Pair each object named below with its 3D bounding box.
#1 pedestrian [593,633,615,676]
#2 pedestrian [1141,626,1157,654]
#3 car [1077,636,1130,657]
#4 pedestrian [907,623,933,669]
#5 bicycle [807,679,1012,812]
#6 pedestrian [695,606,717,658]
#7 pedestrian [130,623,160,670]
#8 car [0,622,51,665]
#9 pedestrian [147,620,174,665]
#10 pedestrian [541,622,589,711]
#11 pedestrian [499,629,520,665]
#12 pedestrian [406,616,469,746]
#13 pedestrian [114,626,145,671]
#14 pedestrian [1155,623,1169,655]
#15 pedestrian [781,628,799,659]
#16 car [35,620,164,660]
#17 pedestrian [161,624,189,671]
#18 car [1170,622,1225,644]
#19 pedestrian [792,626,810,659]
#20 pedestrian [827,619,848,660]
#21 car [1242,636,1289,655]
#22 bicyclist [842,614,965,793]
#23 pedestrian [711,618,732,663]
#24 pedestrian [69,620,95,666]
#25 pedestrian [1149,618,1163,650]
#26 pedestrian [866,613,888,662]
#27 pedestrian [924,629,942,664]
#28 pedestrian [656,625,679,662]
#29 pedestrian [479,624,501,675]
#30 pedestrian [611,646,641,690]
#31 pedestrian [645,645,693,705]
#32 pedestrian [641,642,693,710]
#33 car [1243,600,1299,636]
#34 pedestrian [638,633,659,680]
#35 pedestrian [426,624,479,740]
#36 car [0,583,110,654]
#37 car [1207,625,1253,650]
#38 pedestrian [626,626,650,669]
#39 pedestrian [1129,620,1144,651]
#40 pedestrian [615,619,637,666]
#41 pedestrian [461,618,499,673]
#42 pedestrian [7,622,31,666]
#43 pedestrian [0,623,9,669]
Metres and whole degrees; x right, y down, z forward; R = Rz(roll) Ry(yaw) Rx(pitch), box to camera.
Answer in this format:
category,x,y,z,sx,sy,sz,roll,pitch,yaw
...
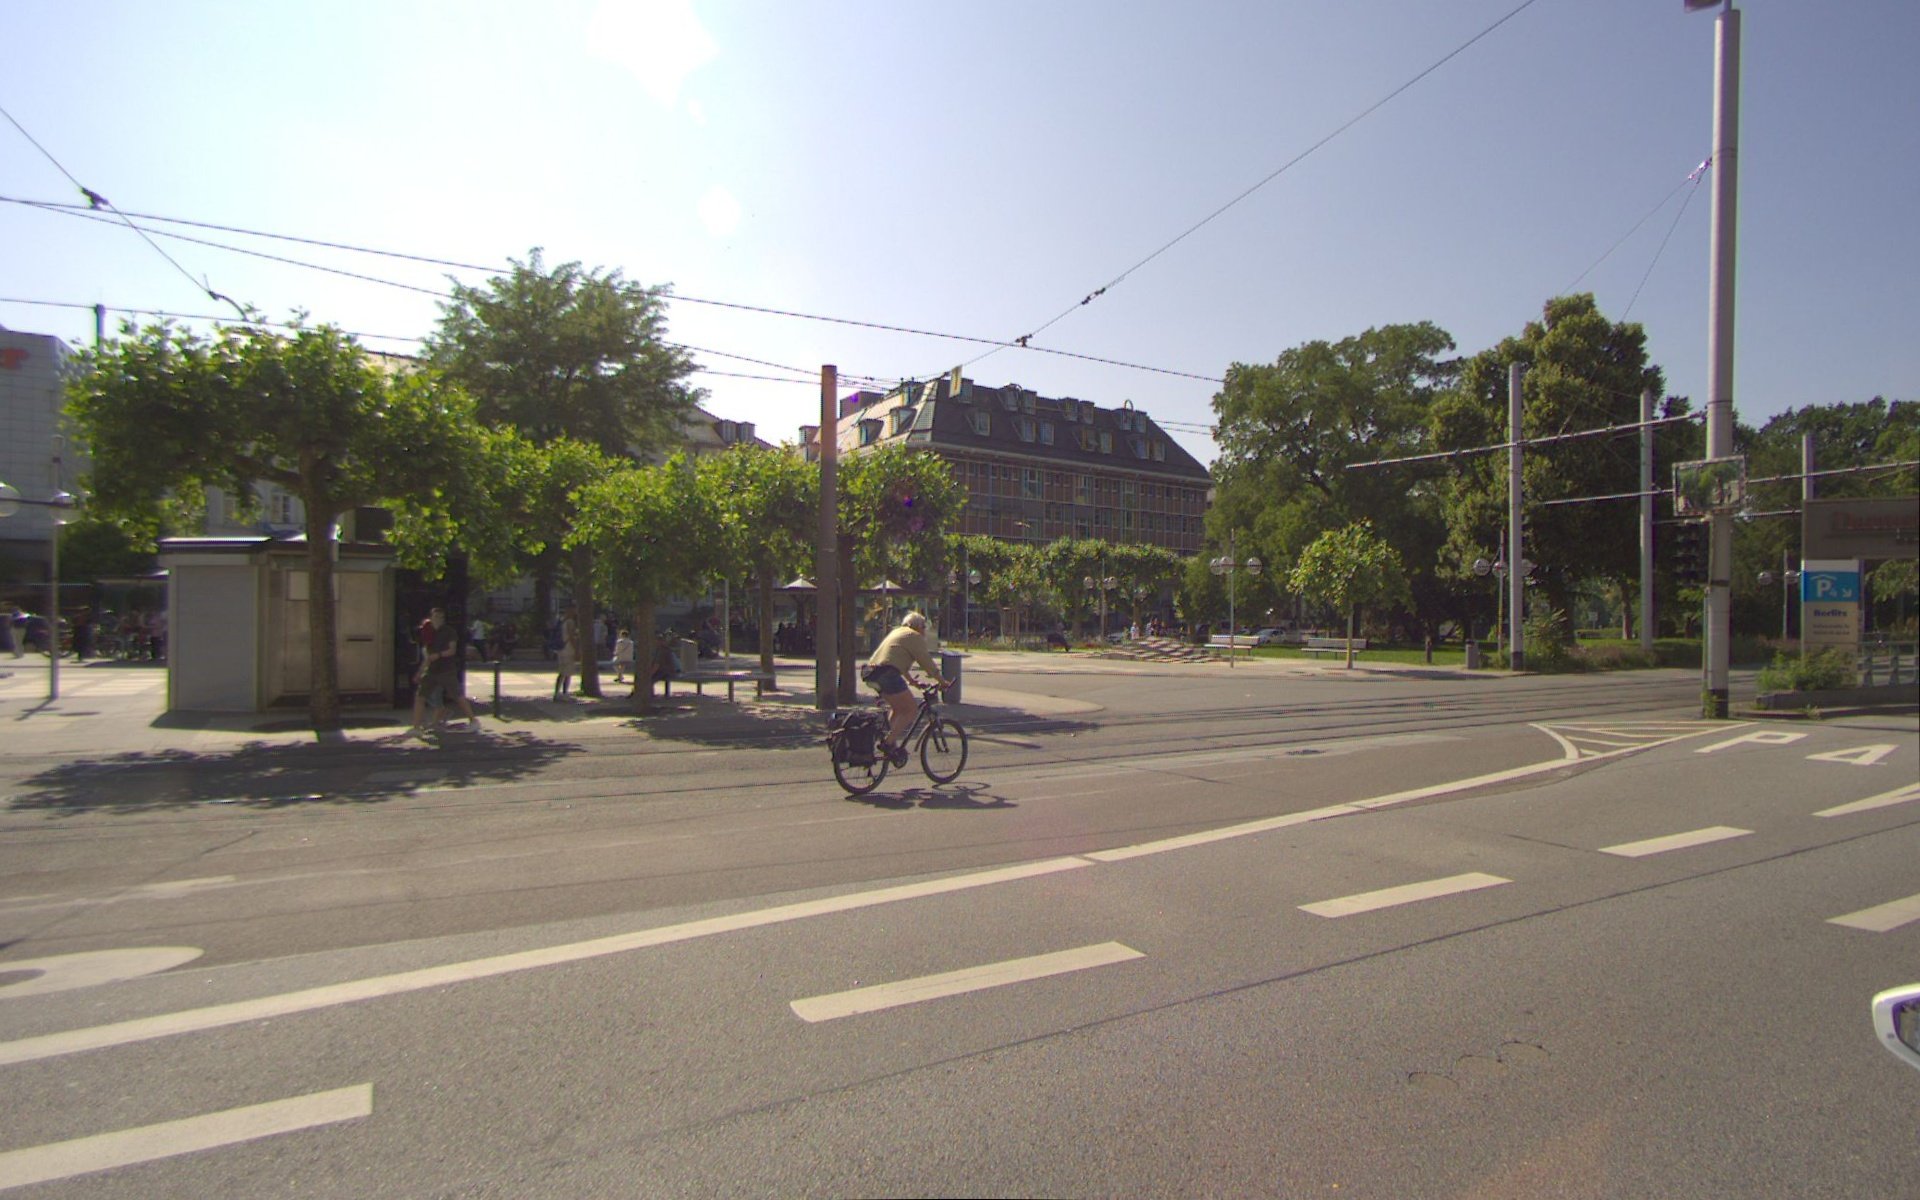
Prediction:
category,x,y,z,sx,sy,sz,roll,pitch,yaw
pedestrian,-10.910,1.669,30.775,0.398,1.279,0.479,-4,-3,41
pedestrian,10.135,2.139,53.802,0.656,1.512,0.521,0,-3,-38
car,11.209,3.602,78.355,3.962,1.528,1.743,1,1,-36
pedestrian,-1.518,1.732,38.093,0.697,1.728,0.673,0,-2,-31
bicycle,-0.487,1.370,9.858,1.852,1.135,0.814,1,-3,-30
pedestrian,-9.965,1.262,39.463,0.537,2.034,0.629,-3,-3,38
pedestrian,-26.153,1.506,32.248,0.673,1.484,0.619,0,-3,-33
car,-37.042,1.629,37.815,3.962,1.528,1.743,1,1,-36
pedestrian,-26.983,1.442,33.919,0.674,1.484,0.619,0,-3,-35
pedestrian,-7.403,1.244,18.824,0.566,1.630,0.602,-3,-3,31
pedestrian,-16.190,1.679,36.088,0.612,1.279,0.580,-1,-2,-16
pedestrian,-7.252,1.115,13.952,0.517,1.756,0.587,-3,-3,30
pedestrian,-28.047,1.627,33.930,0.735,1.484,0.782,0,-3,-35
pedestrian,10.429,2.017,51.850,0.491,1.630,0.410,0,-3,-40
pedestrian,-7.527,1.917,44.523,0.591,1.377,0.565,0,-2,-31
car,-35.960,1.633,42.133,3.962,1.528,1.743,1,1,-36
pedestrian,-25.313,1.529,32.408,0.674,1.484,0.619,0,-3,-35
car,19.809,2.754,83.672,4.798,1.685,1.743,1,1,-37
pedestrian,-6.799,1.828,42.992,0.591,1.409,0.565,0,-2,-31
pedestrian,-5.366,1.739,43.967,0.612,1.751,0.737,0,-2,-31
car,26.115,3.871,85.815,3.962,1.528,1.743,1,1,-36
bicyclist,-0.567,0.982,9.837,0.892,1.643,0.814,0,-4,-30
pedestrian,-9.471,1.617,39.893,0.537,1.771,0.629,-3,-3,38
pedestrian,-28.824,1.395,32.972,0.620,1.484,0.577,1,-3,-42
pedestrian,9.917,1.719,50.845,0.460,1.630,0.449,0,-3,-30
pedestrian,-3.523,1.590,42.482,0.726,2.034,0.627,0,-2,-25
pedestrian,-1.553,2.675,57.977,0.822,2.034,0.598,0,-2,-33
pedestrian,-11.373,1.689,39.024,0.614,1.403,0.734,1,-3,-42
pedestrian,-16.774,1.772,35.889,0.612,1.802,0.580,-1,-2,-16
pedestrian,-7.999,1.624,24.069,0.573,1.014,0.632,0,-3,-28
pedestrian,-5.929,1.522,20.470,0.745,1.186,0.670,0,-3,-36
pedestrian,-5.609,1.441,19.218,0.745,1.263,0.670,0,-3,-36
car,30.472,1.780,98.341,5.358,3.361,2.115,1,1,-31
pedestrian,-11.915,2.155,38.420,0.612,1.751,0.737,0,-2,-31
pedestrian,-7.401,1.181,14.669,0.617,1.630,0.524,-1,-2,-21
car,-40.013,0.774,43.021,5.348,2.926,1.939,1,1,-37
car,23.701,3.304,88.235,3.602,2.041,1.983,1,1,-31
pedestrian,-12.276,1.796,38.332,0.614,1.619,0.734,1,-3,-42
pedestrian,9.511,1.917,54.211,0.615,1.630,0.488,0,-3,-40
pedestrian,-12.626,1.592,37.955,0.612,1.751,0.737,0,-2,-31
pedestrian,-16.109,1.528,33.715,1.064,1.817,0.964,-1,-2,-21
pedestrian,-32.248,1.497,34.419,0.578,1.484,0.559,-4,-3,41
pedestrian,-32.028,1.530,33.225,0.672,1.484,0.621,0,-3,-27
